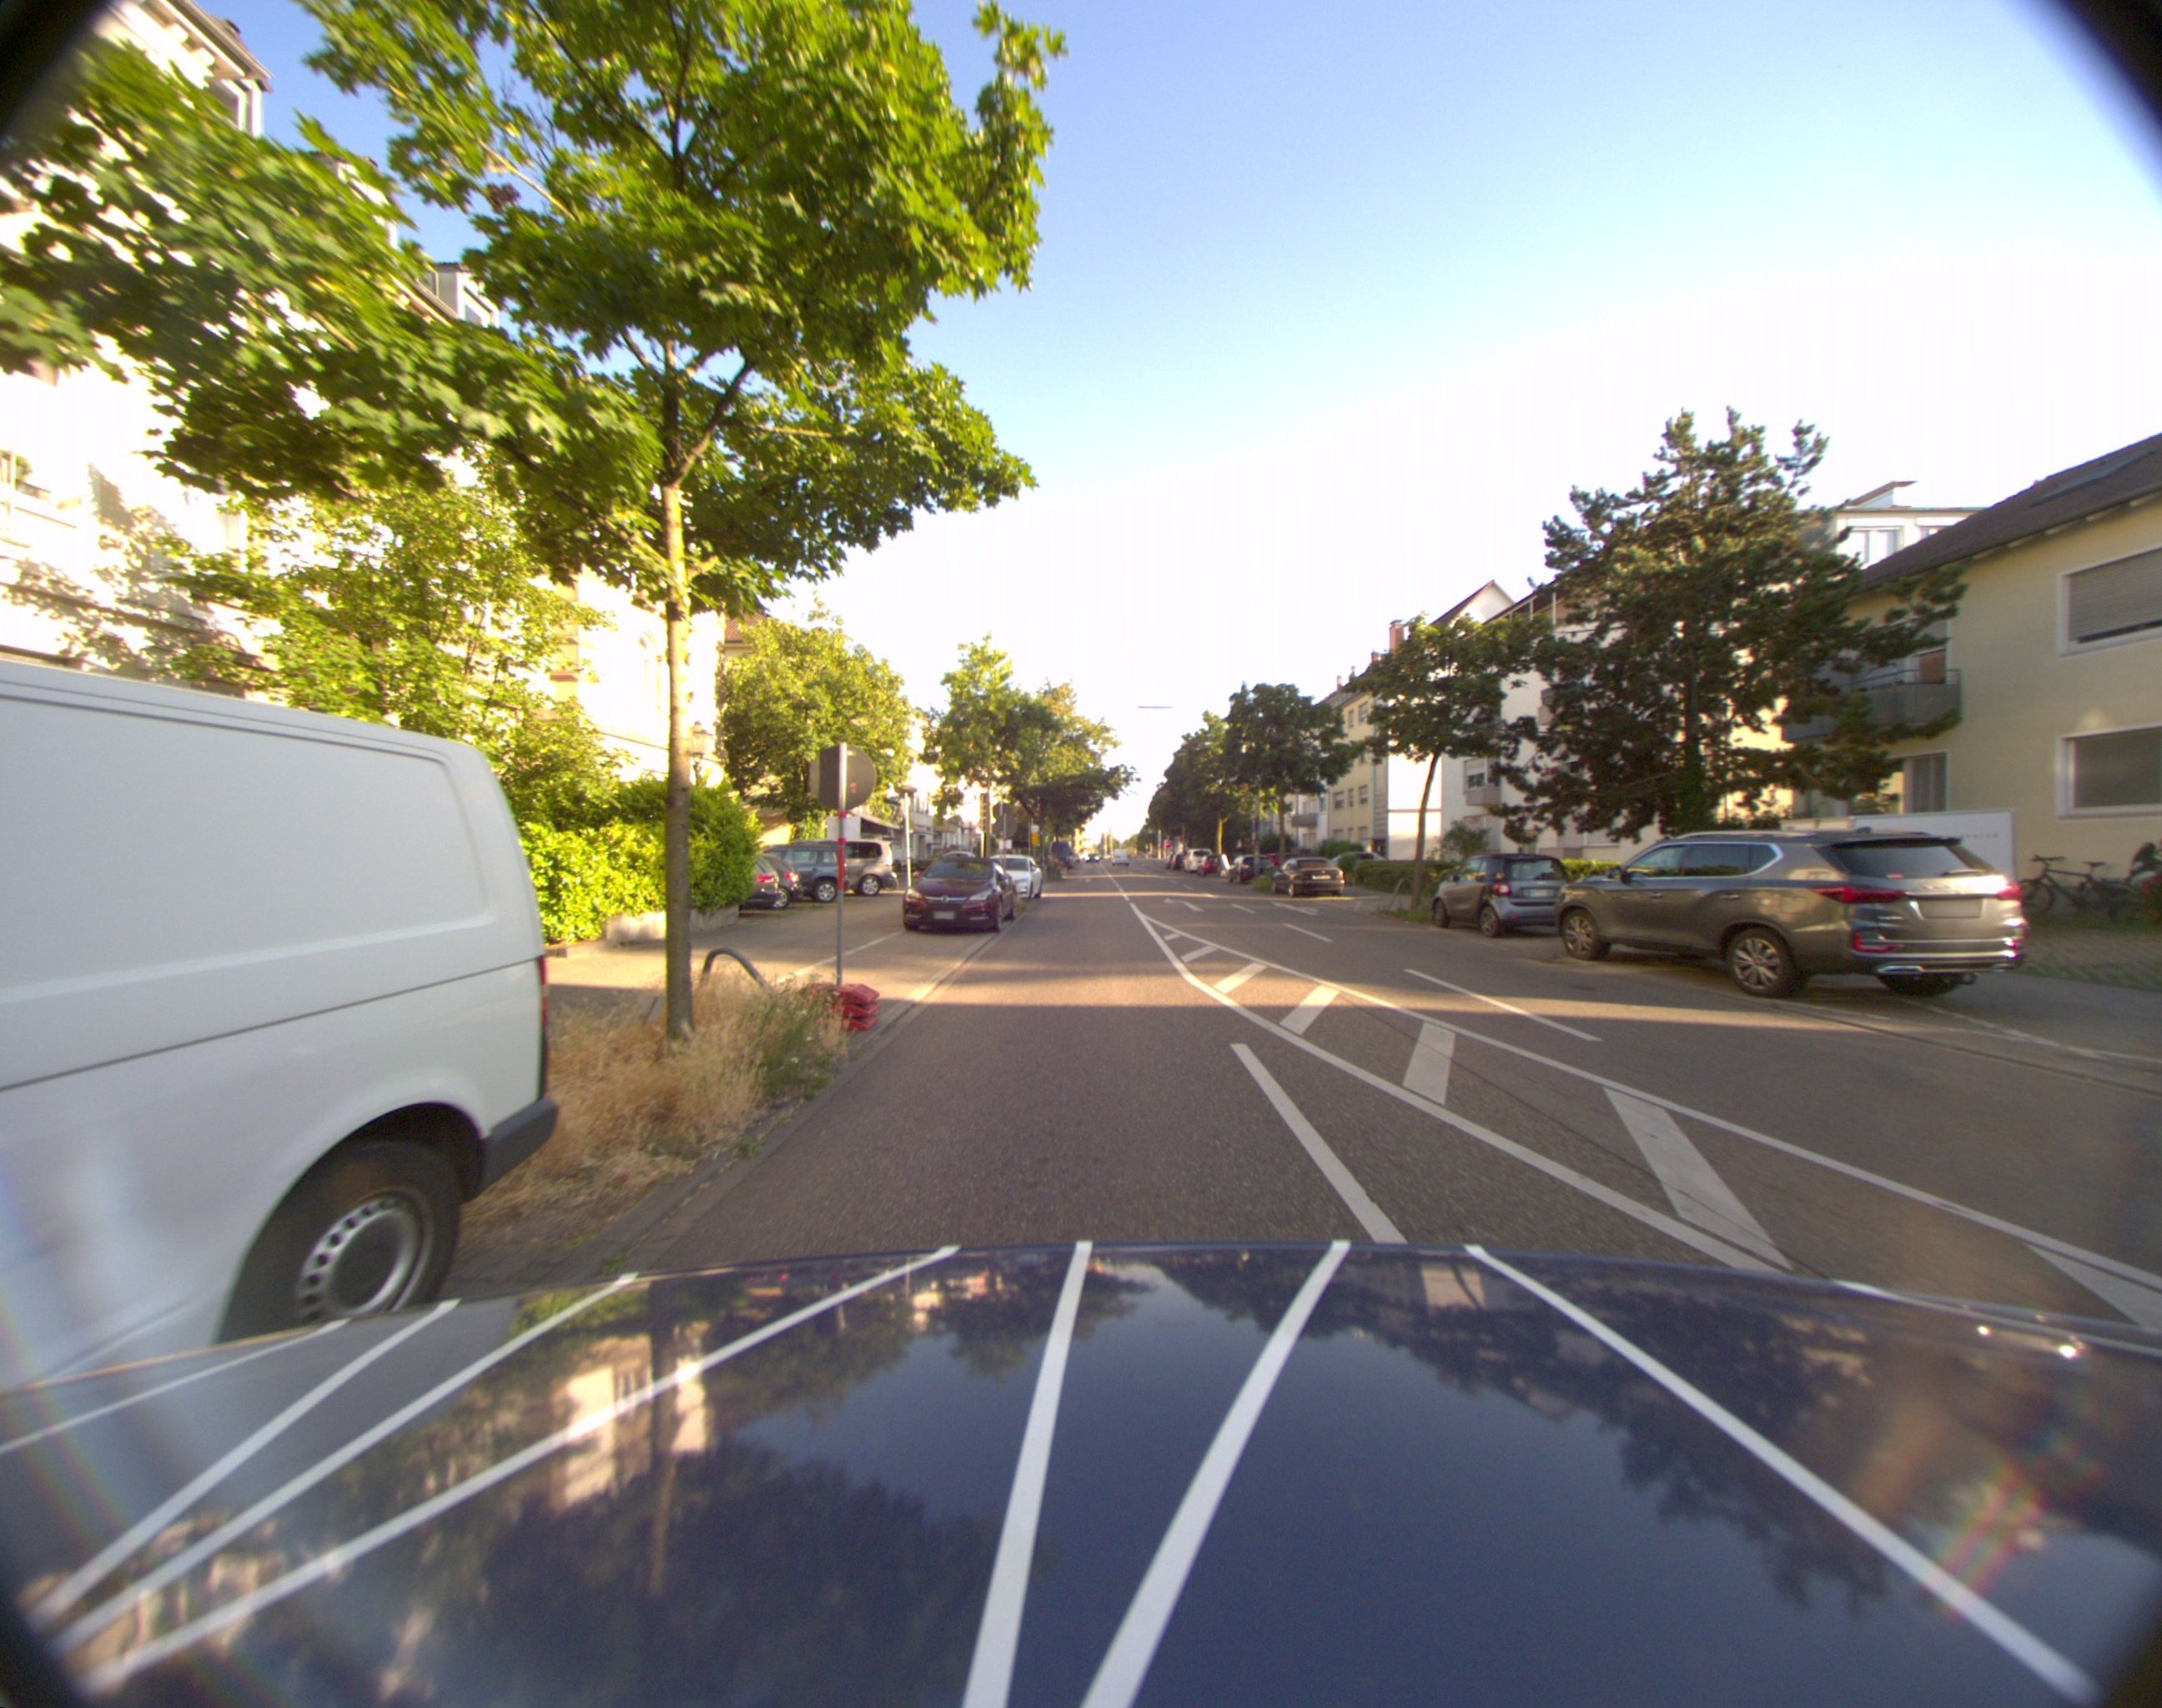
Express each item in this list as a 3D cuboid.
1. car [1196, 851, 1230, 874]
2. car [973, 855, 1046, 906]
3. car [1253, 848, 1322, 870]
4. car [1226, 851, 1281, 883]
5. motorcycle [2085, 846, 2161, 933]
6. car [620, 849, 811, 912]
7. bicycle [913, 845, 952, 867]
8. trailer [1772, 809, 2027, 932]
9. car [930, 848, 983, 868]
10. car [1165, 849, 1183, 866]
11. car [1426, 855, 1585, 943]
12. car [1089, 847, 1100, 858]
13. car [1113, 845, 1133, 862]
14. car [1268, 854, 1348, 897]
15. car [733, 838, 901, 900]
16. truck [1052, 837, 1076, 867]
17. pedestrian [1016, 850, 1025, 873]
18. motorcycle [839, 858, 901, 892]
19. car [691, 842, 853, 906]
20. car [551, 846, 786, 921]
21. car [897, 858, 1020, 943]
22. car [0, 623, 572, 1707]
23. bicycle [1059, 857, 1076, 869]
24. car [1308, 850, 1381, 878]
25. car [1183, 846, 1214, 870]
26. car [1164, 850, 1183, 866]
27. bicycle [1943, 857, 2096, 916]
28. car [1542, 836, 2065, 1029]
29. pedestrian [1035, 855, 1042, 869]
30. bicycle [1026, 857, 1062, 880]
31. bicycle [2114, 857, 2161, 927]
[{"bbox_3d":[8.822,0.519,51.014,1.740,1.455,3.636,0,1,1],"label":"car"},{"bbox_3d":[-2.208,0.785,24.601,1.825,1.469,4.621,0,1,1],"label":"car"},{"bbox_3d":[15.290,0.364,56.335,4.563,1.397,1.739,-2,1,-9],"label":"car"},{"bbox_3d":[8.653,0.616,38.415,1.862,1.477,3.999,0,0,0],"label":"car"},{"bbox_3d":[17.279,0.564,11.722,0.572,1.366,2.258,0,1,1],"label":"motorcycle"},{"bbox_3d":[-8.990,0.657,19.026,4.105,1.432,1.713,2,0,-22],"label":"car"},{"bbox_3d":[-10.052,0.122,51.638,2.459,1.433,0.928,0,1,-1],"label":"bicycle"},{"bbox_3d":[14.129,0.268,13.237,2.780,2.002,1.552,0,1,-1],"label":"trailer"},{"bbox_3d":[-9.446,0.257,57.776,3.878,1.496,1.575,0,1,-4],"label":"car"},{"bbox_3d":[8.940,0.315,73.307,1.407,1.456,3.682,-2,1,2],"label":"car"},{"bbox_3d":[8.191,0.802,14.922,1.577,1.546,2.749,0,1,0],"label":"car"},{"bbox_3d":[2.045,-0.222,112.675,1.596,1.696,4.000,0,1,1],"label":"car"},{"bbox_3d":[4.649,-0.065,85.137,1.893,1.793,4.430,2,1,-1],"label":"car"},{"bbox_3d":[8.136,0.729,27.625,1.641,1.399,4.443,0,1,0],"label":"car"},{"bbox_3d":[-8.585,0.429,24.798,4.946,1.888,1.916,0,1,-28],"label":"car"},{"bbox_3d":[-1.546,-0.209,70.849,1.998,2.629,5.615,0,1,1],"label":"truck"},{"bbox_3d":[-4.682,0.548,58.711,0.619,1.761,0.562,0,0,2],"label":"pedestrian"},{"bbox_3d":[-7.891,0.769,28.545,2.163,1.232,0.789,0,1,-9],"label":"motorcycle"},{"bbox_3d":[-8.827,0.532,21.746,4.106,1.690,1.783,1,1,-29],"label":"car"},{"bbox_3d":[-8.854,0.643,16.725,4.255,1.502,1.789,2,0,-17],"label":"car"},{"bbox_3d":[-2.388,0.850,16.013,1.761,1.412,4.614,2,1,1],"label":"car"},{"bbox_3d":[-2.935,0.629,0.633,1.908,2.091,4.640,0,1,-1],"label":"car"},{"bbox_3d":[-1.221,0.782,67.276,1.469,1.058,0.445,0,1,1],"label":"bicycle"},{"bbox_3d":[14.560,0.515,42.125,3.467,1.515,1.686,0,1,2],"label":"car"},{"bbox_3d":[8.955,0.292,58.101,1.740,1.799,4.191,0,1,1],"label":"car"},{"bbox_3d":[8.373,0.337,69.125,1.407,1.397,3.682,-2,1,2],"label":"car"},{"bbox_3d":[18.556,0.611,15.110,0.520,1.057,2.046,0,1,1],"label":"bicycle"},{"bbox_3d":[8.049,0.702,9.326,1.892,1.769,4.725,0,1,0],"label":"car"},{"bbox_3d":[-3.305,0.615,59.231,0.553,1.053,0.532,0,1,2],"label":"pedestrian"},{"bbox_3d":[-1.987,0.765,40.660,1.894,1.155,0.616,2,2,28],"label":"bicycle"},{"bbox_3d":[18.085,0.632,11.959,0.572,1.134,2.258,0,1,1],"label":"bicycle"}]
